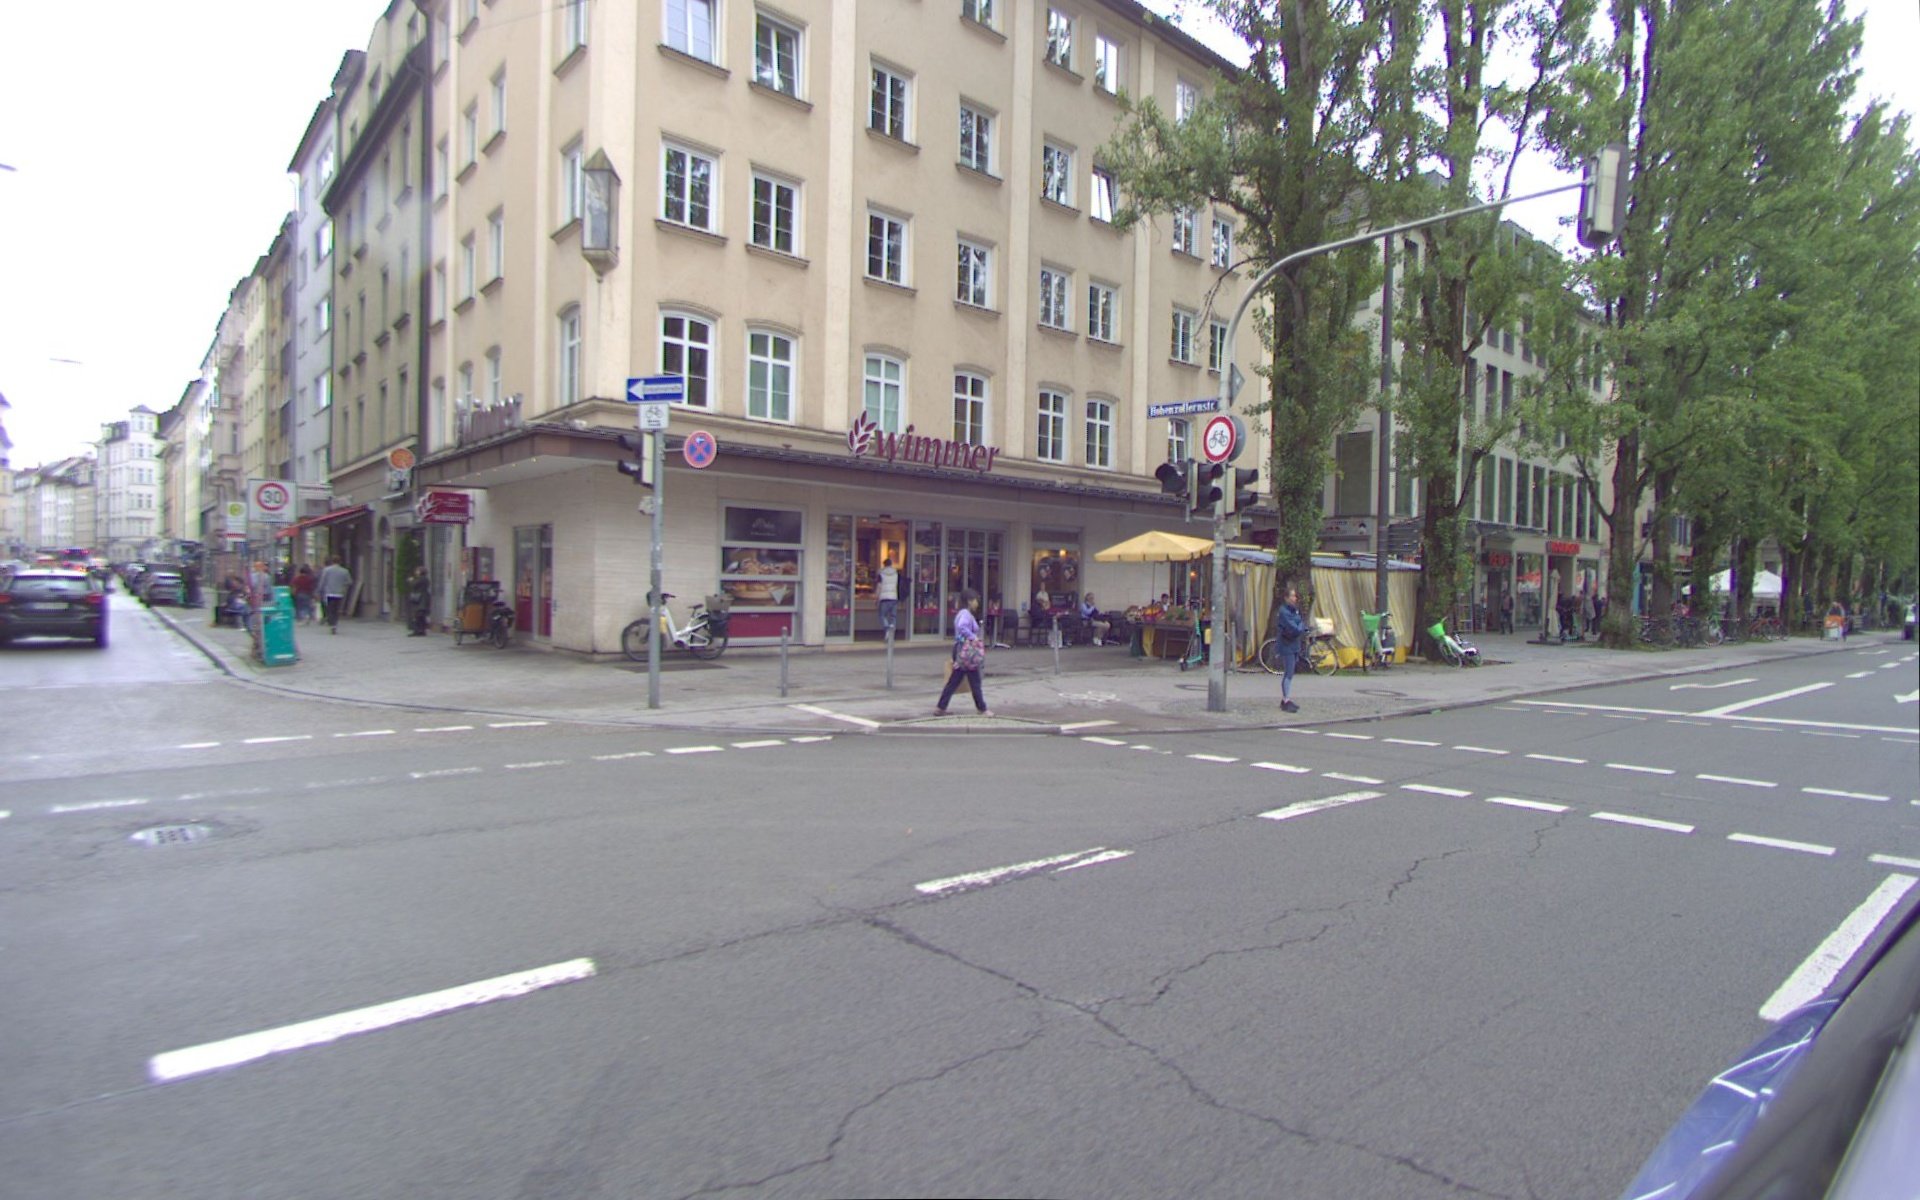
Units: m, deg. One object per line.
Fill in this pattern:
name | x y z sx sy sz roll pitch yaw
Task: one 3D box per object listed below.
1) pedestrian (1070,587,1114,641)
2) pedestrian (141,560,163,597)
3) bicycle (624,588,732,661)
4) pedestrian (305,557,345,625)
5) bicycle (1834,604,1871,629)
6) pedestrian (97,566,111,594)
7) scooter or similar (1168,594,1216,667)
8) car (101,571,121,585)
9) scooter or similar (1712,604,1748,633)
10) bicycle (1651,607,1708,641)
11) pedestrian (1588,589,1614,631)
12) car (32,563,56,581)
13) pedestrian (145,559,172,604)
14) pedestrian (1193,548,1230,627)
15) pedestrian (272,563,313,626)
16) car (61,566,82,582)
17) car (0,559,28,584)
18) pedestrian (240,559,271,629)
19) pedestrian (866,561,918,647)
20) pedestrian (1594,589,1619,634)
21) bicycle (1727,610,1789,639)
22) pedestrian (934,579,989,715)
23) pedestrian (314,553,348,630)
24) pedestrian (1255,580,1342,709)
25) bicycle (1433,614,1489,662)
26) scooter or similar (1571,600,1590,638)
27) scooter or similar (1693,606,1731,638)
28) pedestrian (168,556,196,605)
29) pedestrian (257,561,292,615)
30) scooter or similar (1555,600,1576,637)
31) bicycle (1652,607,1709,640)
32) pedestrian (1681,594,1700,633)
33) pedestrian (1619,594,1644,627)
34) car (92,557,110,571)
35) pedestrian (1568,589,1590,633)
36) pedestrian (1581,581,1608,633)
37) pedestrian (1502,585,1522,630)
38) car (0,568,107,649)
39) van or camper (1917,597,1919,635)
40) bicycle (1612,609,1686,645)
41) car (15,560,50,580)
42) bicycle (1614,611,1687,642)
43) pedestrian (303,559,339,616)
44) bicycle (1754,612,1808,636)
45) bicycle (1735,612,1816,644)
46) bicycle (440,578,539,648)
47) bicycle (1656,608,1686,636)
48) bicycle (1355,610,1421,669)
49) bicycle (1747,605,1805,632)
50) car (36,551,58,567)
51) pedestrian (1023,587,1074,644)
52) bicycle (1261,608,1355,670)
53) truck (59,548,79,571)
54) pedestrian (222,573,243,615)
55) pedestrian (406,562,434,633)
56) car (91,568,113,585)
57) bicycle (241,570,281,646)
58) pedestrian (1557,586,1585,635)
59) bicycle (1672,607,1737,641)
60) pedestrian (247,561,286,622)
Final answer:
pedestrian | 3.196 0.329 24.528 0.687 1.280 0.777 1 0 -41
pedestrian | -40.576 -1.084 50.826 0.818 1.826 0.867 1 0 -40
bicycle | -4.805 0.398 17.335 1.781 1.185 0.435 0 0 -43
pedestrian | -17.127 -0.233 27.308 0.804 1.791 0.867 0 0 -40
bicycle | 51.778 0.954 58.737 0.819 1.429 2.580 1 0 22
pedestrian | -48.653 -1.141 57.510 0.572 1.571 0.670 1 0 -41
scooter or similar | 4.154 0.524 18.079 0.405 1.259 1.356 1 0 32
car | -92.366 -2.389 110.103 1.556 1.530 3.200 1 1 -42
scooter or similar | 31.859 0.768 41.868 1.221 1.184 0.286 0 0 1
bicycle | 25.897 0.856 36.441 1.669 1.131 0.282 2 1 37
pedestrian | 29.006 0.449 45.795 0.806 1.877 0.753 1 0 -40
car | -84.866 -2.590 93.779 1.556 1.530 3.200 1 1 -42
pedestrian | -32.528 -0.743 41.066 0.818 1.826 0.867 0 0 -40
pedestrian | 5.483 -0.270 22.089 0.526 1.694 0.542 1 0 -34
pedestrian | -17.773 -0.151 26.945 0.804 1.629 0.867 0 0 -40
car | -94.452 -2.791 107.608 1.657 1.594 3.679 0 0 -41
car | -58.280 -1.780 61.826 1.728 1.479 3.696 1 1 -39
pedestrian | -17.008 -0.147 24.434 0.573 1.665 0.445 0 -1 -32
pedestrian | -1.419 0.063 20.980 0.845 1.723 0.666 -2 2 -40
pedestrian | 26.420 0.468 41.364 0.662 1.807 0.658 1 0 -40
bicycle | 31.366 0.957 39.809 0.385 1.022 1.847 1 2 -32
pedestrian | 0.028 0.534 11.957 0.608 1.536 0.769 0 2 3
pedestrian | -14.897 -0.200 23.980 0.663 1.790 1.003 0 0 -32
pedestrian | 4.500 0.560 13.449 0.766 1.630 0.850 2 1 45
bicycle | 10.958 0.803 22.116 1.740 0.988 0.509 0 1 -43
scooter or similar | 21.724 0.662 35.418 1.018 1.289 0.247 1 0 -41
scooter or similar | 29.670 0.862 39.935 0.395 1.184 1.247 0 1 -12
pedestrian | -29.626 -0.740 38.537 0.818 1.826 0.867 0 0 -40
pedestrian | -21.378 -0.372 31.557 0.804 1.629 0.867 0 0 -40
scooter or similar | 21.420 0.642 35.789 1.018 1.289 0.330 1 0 -41
bicycle | 26.158 0.832 36.780 1.657 1.121 0.391 2 1 38
pedestrian | 34.158 0.630 47.316 0.684 1.764 0.566 1 0 -38
pedestrian | 32.787 0.508 49.434 0.998 1.624 0.764 1 0 -41
car | -100.517 -4.234 118.437 1.556 1.530 3.200 1 1 -42
pedestrian | 25.846 0.466 42.270 0.662 1.807 0.566 1 0 -40
pedestrian | 24.578 0.272 39.210 0.709 1.996 0.658 1 0 -38
pedestrian | 22.300 0.294 40.878 0.630 1.790 0.547 1 -1 -42
car | -18.526 0.113 20.568 1.729 1.479 3.994 1 1 -41
van or camper | 50.924 0.863 52.199 4.485 1.929 1.794 1 0 -41
bicycle | 22.833 0.884 33.574 1.997 1.096 0.282 2 1 42
car | -69.787 -2.268 76.156 1.728 1.479 3.696 1 1 -39
bicycle | 23.053 0.883 33.820 1.997 0.957 0.282 2 1 41
pedestrian | -19.336 -0.371 30.611 0.804 1.717 0.867 0 0 -40
bicycle | 36.855 1.072 45.445 0.494 1.022 1.843 1 1 -40
bicycle | 35.250 1.180 43.771 0.948 1.230 2.576 1 1 -40
bicycle | -9.243 0.234 19.781 0.982 1.268 2.975 0 0 -41
bicycle | 28.497 0.871 40.551 1.968 1.076 0.393 1 2 -38
bicycle | 8.308 0.743 19.634 1.740 1.061 0.509 0 1 -43
bicycle | 36.114 0.810 44.800 0.674 1.141 1.901 1 1 -40
car | -89.635 -4.001 99.343 1.556 1.530 3.200 1 1 -42
pedestrian | 2.046 0.339 23.368 0.687 1.213 0.871 1 5 -40
bicycle | 6.267 0.694 18.219 1.774 1.084 0.406 0 -4 -25
truck | -123.205 -5.586 139.914 1.961 3.038 5.478 1 1 -42
pedestrian | -25.579 -0.212 35.572 0.573 1.451 0.445 0 -1 -32
pedestrian | -12.196 -0.054 22.847 0.437 1.577 0.583 0 -1 -40
car | -84.263 -2.306 99.330 1.556 1.530 3.200 1 1 -42
bicycle | -13.387 0.126 19.372 0.472 1.404 1.832 1 1 -39
pedestrian | 23.951 0.397 39.672 0.889 1.874 0.658 1 0 -39
bicycle | 27.273 0.860 37.102 1.864 1.149 0.335 2 1 41
pedestrian | -18.941 -0.218 27.652 0.804 1.629 0.867 0 0 -40
